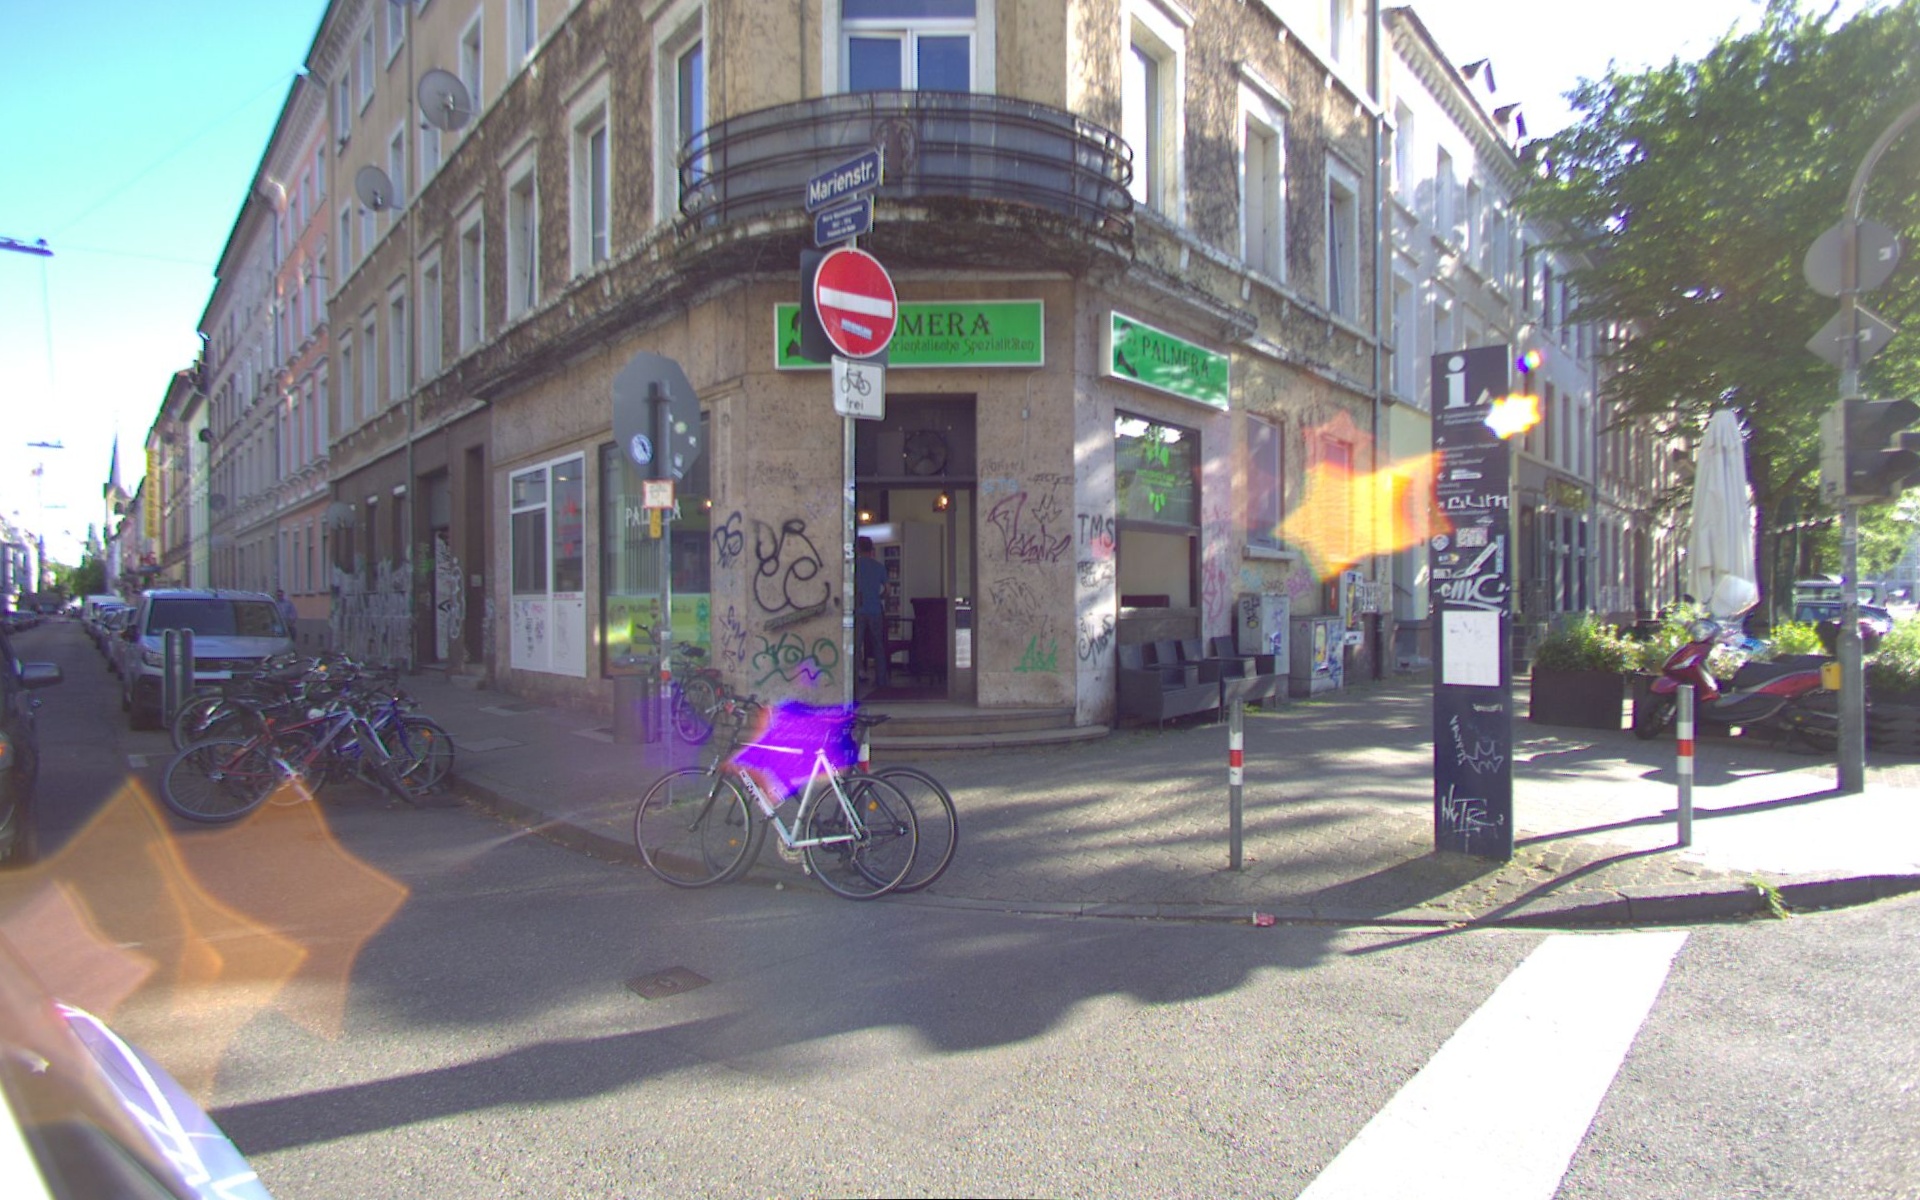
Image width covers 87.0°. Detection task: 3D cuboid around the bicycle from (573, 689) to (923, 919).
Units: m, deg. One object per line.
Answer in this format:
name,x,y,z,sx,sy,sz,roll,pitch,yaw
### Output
bicycle,-1.071,1.035,5.199,1.668,1.053,0.457,-3,-1,8

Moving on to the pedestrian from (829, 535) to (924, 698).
pedestrian,-0.933,0.185,11.366,0.754,1.754,0.741,-1,-1,32

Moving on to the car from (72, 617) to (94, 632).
car,-87.297,2.407,100.704,1.658,1.400,3.865,0,-1,-41

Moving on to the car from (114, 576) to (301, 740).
car,-10.607,0.741,14.127,1.658,1.924,4.525,4,-3,-41

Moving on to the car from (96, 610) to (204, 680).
car,-19.365,1.036,24.163,2.961,1.561,1.660,-1,-2,45

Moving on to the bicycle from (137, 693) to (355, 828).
bicycle,-5.341,1.167,7.629,0.355,0.824,1.296,-1,-1,38

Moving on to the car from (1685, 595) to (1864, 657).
car,21.646,0.684,27.020,3.297,1.514,1.680,-1,2,17

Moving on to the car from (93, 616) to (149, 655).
car,-33.989,1.383,40.962,1.658,1.474,3.865,0,-1,-41

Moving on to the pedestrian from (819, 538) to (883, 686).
pedestrian,-1.344,0.141,12.411,0.636,1.754,0.697,-1,-1,-17

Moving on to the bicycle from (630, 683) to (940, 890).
bicycle,-0.968,1.017,5.679,1.645,1.054,0.450,-1,-1,8

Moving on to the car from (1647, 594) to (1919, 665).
car,18.425,0.647,22.745,4.608,1.502,1.678,-1,-1,19

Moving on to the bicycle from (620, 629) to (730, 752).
bicycle,-2.848,0.852,10.024,0.393,1.100,1.593,0,0,-41

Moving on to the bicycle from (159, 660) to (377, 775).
bicycle,-6.796,1.120,10.008,1.744,0.969,0.422,0,-1,-43

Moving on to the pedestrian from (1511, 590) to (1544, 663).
pedestrian,13.078,0.606,23.324,0.539,1.655,0.562,-2,-1,39

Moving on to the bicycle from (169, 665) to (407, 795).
bicycle,-6.024,1.120,9.174,0.480,0.969,1.749,-1,-1,36

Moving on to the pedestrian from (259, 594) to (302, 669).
pedestrian,-17.158,0.774,25.560,0.779,1.844,0.595,-2,1,-41

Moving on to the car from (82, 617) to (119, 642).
car,-52.229,1.772,61.452,1.658,1.400,3.865,0,-1,-41

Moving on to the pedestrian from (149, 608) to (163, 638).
pedestrian,-50.005,1.407,62.941,0.617,1.844,0.595,-2,1,-41

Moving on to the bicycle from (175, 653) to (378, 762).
bicycle,-7.241,1.105,10.788,1.743,0.996,0.464,0,-1,-43

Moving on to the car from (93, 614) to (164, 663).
car,-27.152,1.215,32.989,1.658,1.474,4.319,0,-1,-41

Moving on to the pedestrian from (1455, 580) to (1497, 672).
pedestrian,9.496,0.471,18.612,0.539,1.655,0.562,-2,-1,39

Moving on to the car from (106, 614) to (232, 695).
car,-16.293,1.055,20.778,1.659,1.485,4.207,3,-2,-43

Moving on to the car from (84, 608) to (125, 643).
car,-48.636,1.431,57.585,1.725,1.906,4.779,0,-1,-39

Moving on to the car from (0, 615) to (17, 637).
car,-71.233,1.933,75.159,1.659,1.610,3.865,-2,1,-42

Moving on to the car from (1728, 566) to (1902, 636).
car,34.398,-0.024,40.971,5.192,2.597,2.217,2,1,39

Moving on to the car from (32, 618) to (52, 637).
car,-110.971,3.312,122.394,1.659,2.105,4.164,-2,1,-42

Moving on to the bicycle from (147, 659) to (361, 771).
bicycle,-7.122,1.126,10.277,1.744,0.969,0.406,0,-1,-43

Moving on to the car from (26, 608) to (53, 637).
car,-115.754,2.828,127.283,2.401,3.449,5.550,-2,1,-42

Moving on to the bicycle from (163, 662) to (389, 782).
bicycle,-6.494,1.120,9.680,1.744,0.969,0.443,0,-1,-43

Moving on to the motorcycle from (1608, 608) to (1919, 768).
motorcycle,7.734,0.788,9.633,2.396,1.361,0.997,1,-1,12

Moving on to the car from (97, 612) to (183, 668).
car,-23.899,1.123,29.469,1.659,1.503,3.615,0,-1,-44

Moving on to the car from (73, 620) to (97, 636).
car,-80.469,2.559,93.099,1.658,1.400,3.865,0,-1,-41

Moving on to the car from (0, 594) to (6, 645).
car,-53.121,1.081,54.669,2.020,2.698,6.194,-2,1,-41

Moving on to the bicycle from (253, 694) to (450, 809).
bicycle,-5.089,1.238,8.533,0.361,0.824,1.373,-1,-3,38

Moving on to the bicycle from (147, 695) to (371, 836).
bicycle,-5.061,1.160,7.367,0.371,0.824,1.296,-1,-1,38

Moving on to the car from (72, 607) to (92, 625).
car,-155.631,2.821,179.396,2.527,3.070,7.071,-2,1,-42

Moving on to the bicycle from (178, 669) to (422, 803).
bicycle,-5.731,1.142,8.887,0.427,0.969,1.746,-1,-1,41

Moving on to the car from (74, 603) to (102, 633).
car,-70.545,1.440,81.837,1.658,2.384,4.104,0,-1,-41

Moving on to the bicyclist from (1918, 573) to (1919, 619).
bicyclist,33.962,-0.145,35.293,0.726,1.584,1.015,-1,-1,40

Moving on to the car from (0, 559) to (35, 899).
car,-7.072,0.694,6.356,1.772,1.674,5.190,-2,1,-42

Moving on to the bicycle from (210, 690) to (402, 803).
bicycle,-5.488,1.200,8.550,0.381,0.824,1.296,-1,-3,38

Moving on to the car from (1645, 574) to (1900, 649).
car,23.232,0.353,29.229,5.304,2.006,2.027,-1,0,18

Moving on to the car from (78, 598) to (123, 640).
car,-56.144,1.249,66.085,2.063,2.611,5.849,0,-1,-42
